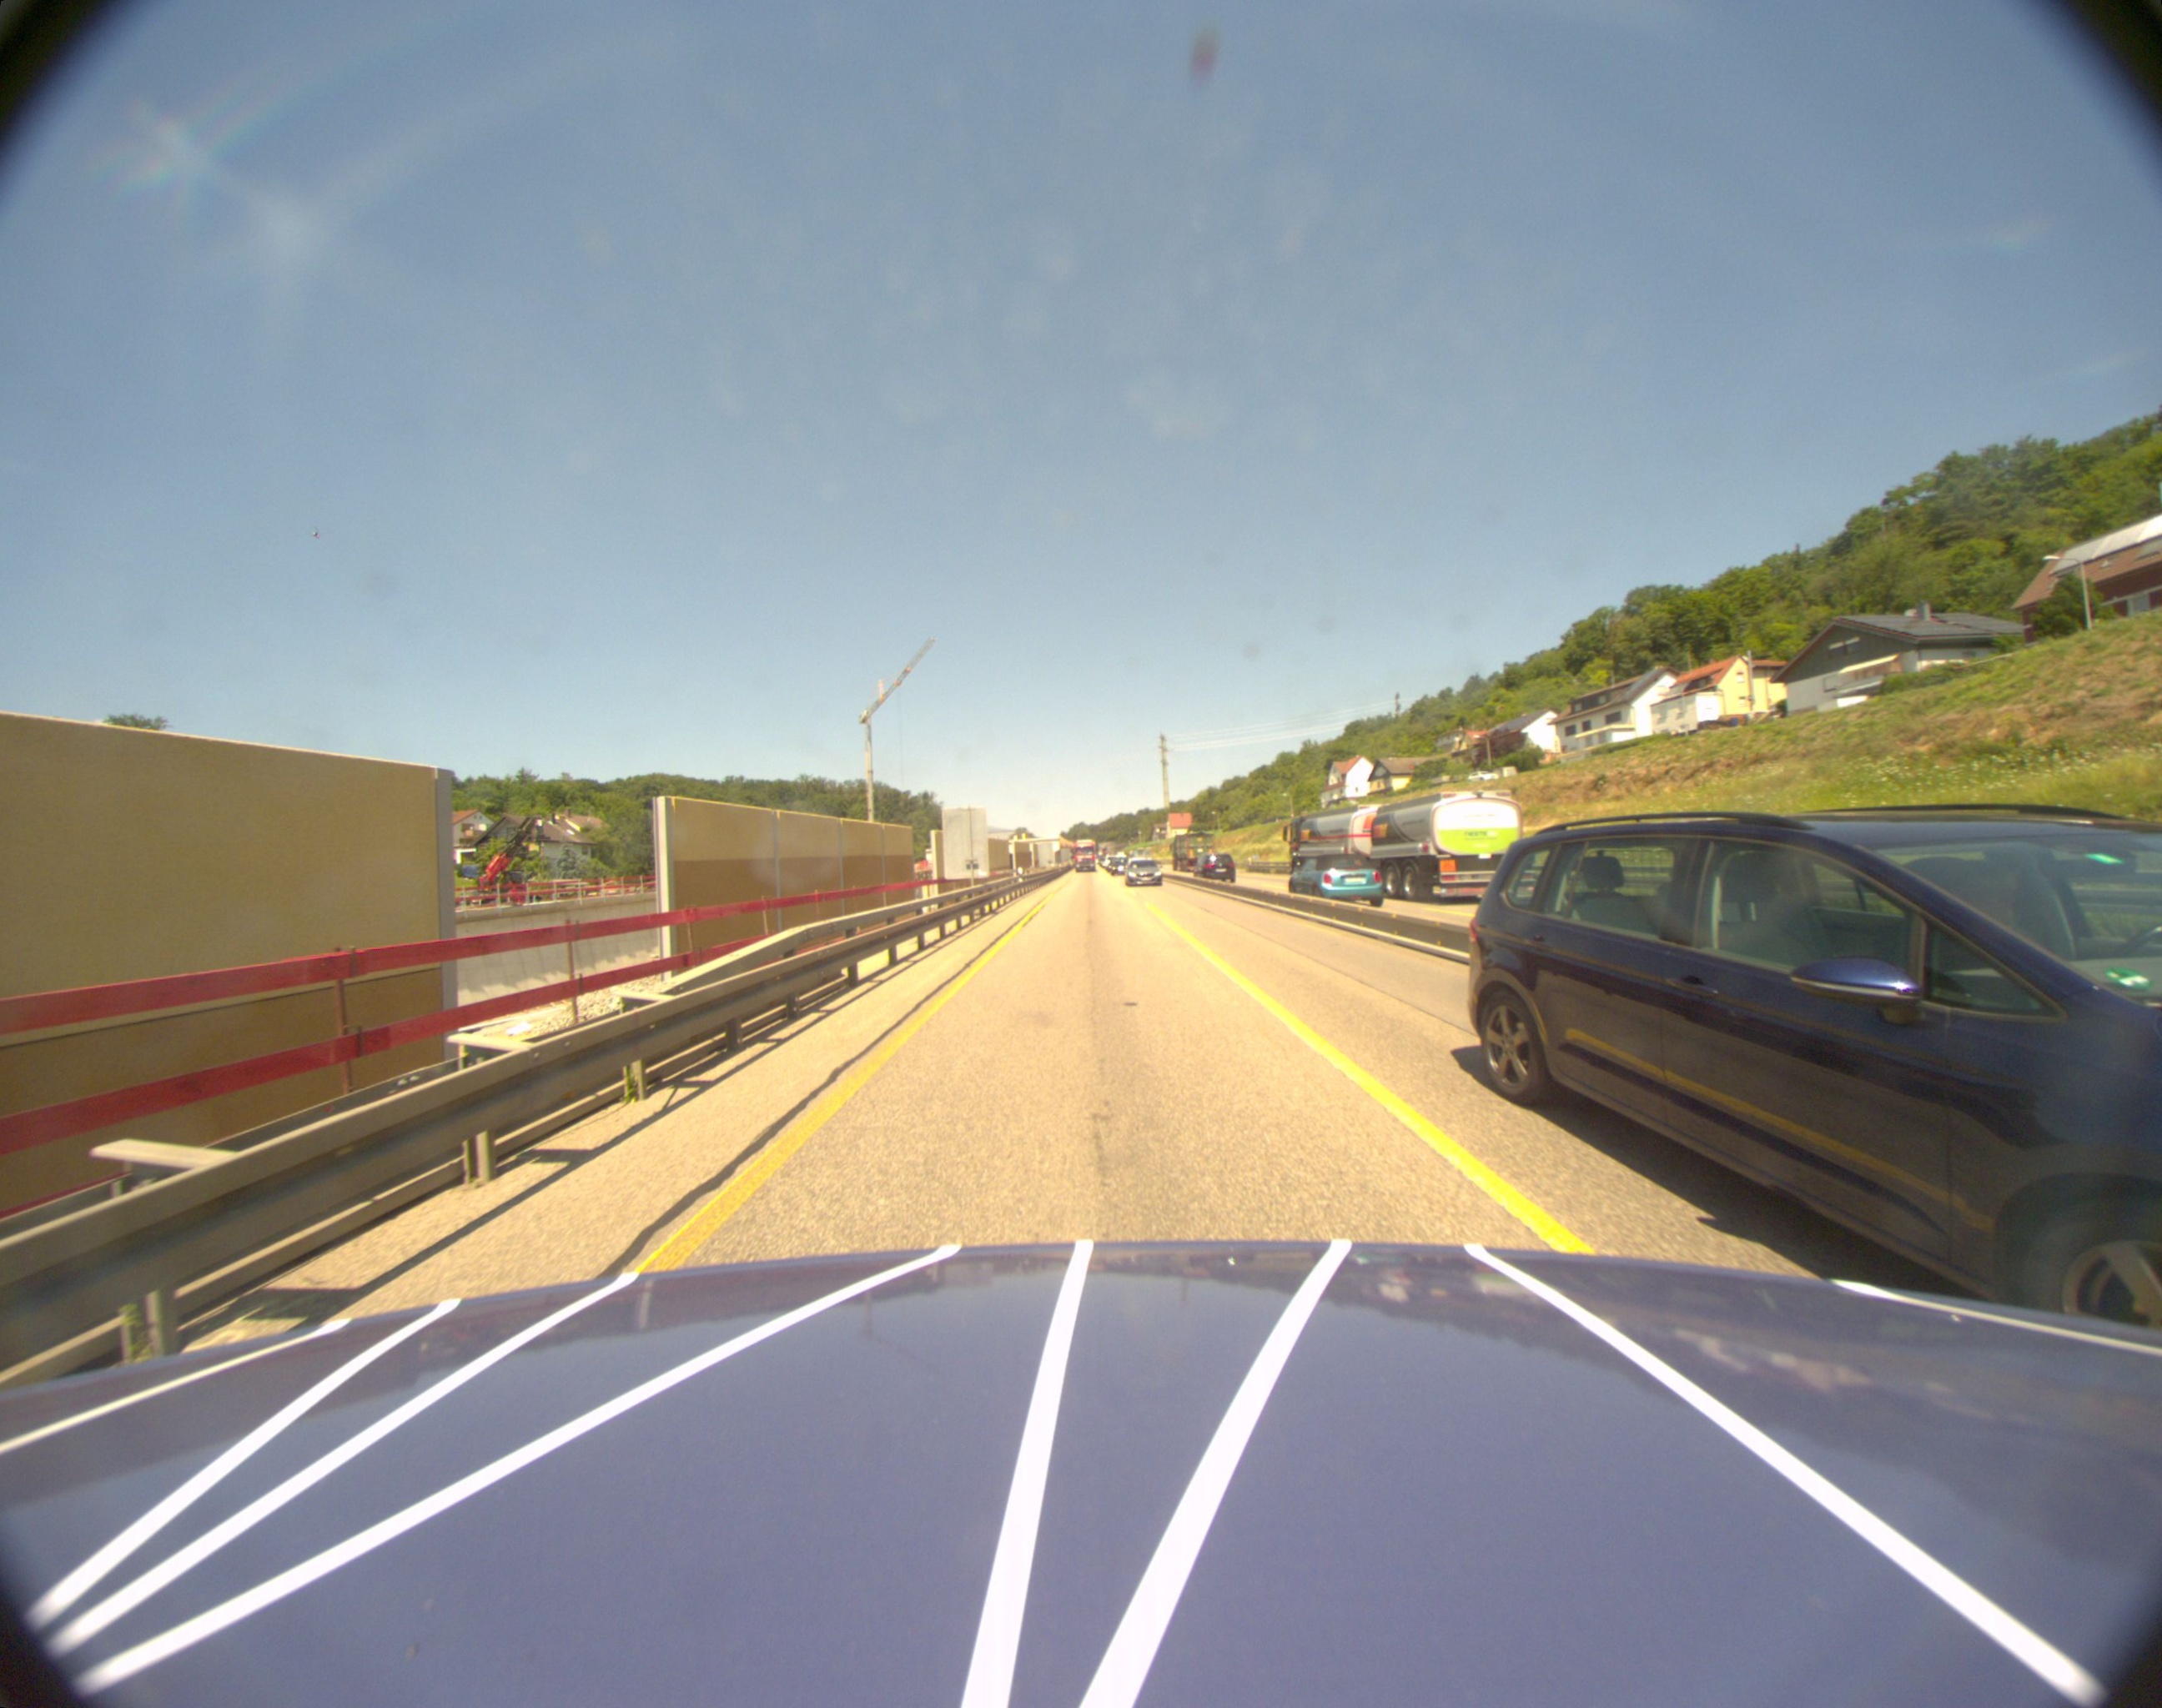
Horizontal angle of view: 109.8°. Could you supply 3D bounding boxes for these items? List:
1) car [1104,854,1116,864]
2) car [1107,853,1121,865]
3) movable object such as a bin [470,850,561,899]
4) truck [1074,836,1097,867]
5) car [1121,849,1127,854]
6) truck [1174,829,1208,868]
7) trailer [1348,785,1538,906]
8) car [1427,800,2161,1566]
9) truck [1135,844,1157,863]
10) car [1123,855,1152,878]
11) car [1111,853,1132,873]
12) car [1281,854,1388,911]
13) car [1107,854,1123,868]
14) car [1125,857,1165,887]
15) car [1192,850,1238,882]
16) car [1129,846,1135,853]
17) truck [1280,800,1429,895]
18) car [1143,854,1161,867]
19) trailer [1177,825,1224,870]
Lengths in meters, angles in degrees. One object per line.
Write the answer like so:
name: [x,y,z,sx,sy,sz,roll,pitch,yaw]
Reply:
car: [4.662,0.790,123.091,1.780,1.486,4.336,-2,-1,1]
car: [4.382,0.668,101.387,1.780,1.486,4.336,-2,-1,1]
movable object such as a bin: [-37.495,1.308,50.554,2.202,3.065,4.918,-2,0,1]
truck: [0.703,-0.279,97.359,2.605,3.704,10.537,-2,-1,1]
car: [13.914,-0.882,248.507,1.679,1.615,4.044,-2,0,0]
truck: [11.483,-0.576,79.890,2.902,3.915,4.178,-2,0,1]
trailer: [10.380,-0.206,22.619,2.619,2.983,6.370,-2,0,1]
car: [3.289,0.714,2.941,1.780,1.708,4.653,-2,-1,1]
truck: [12.285,-0.099,144.841,2.769,3.303,15.936,-2,0,0]
car: [3.887,0.870,53.017,1.780,1.447,4.336,-2,-1,1]
car: [3.734,0.867,70.360,1.780,1.727,4.336,-2,-1,1]
car: [6.933,0.727,21.158,1.670,1.386,3.905,-2,0,0]
car: [3.875,0.833,87.125,1.780,1.486,4.336,-2,-1,1]
car: [3.359,0.910,40.596,1.780,1.447,4.336,-2,-1,1]
car: [7.297,0.622,41.753,1.722,1.625,4.499,-2,0,1]
car: [16.438,-1.301,243.537,1.679,2.203,4.044,-2,0,0]
truck: [10.461,-0.216,30.299,2.733,3.124,8.959,-2,0,1]
car: [8.647,0.785,93.142,1.777,1.461,4.440,-2,0,0]
trailer: [11.439,-0.580,73.874,2.920,3.915,10.527,-2,0,1]
